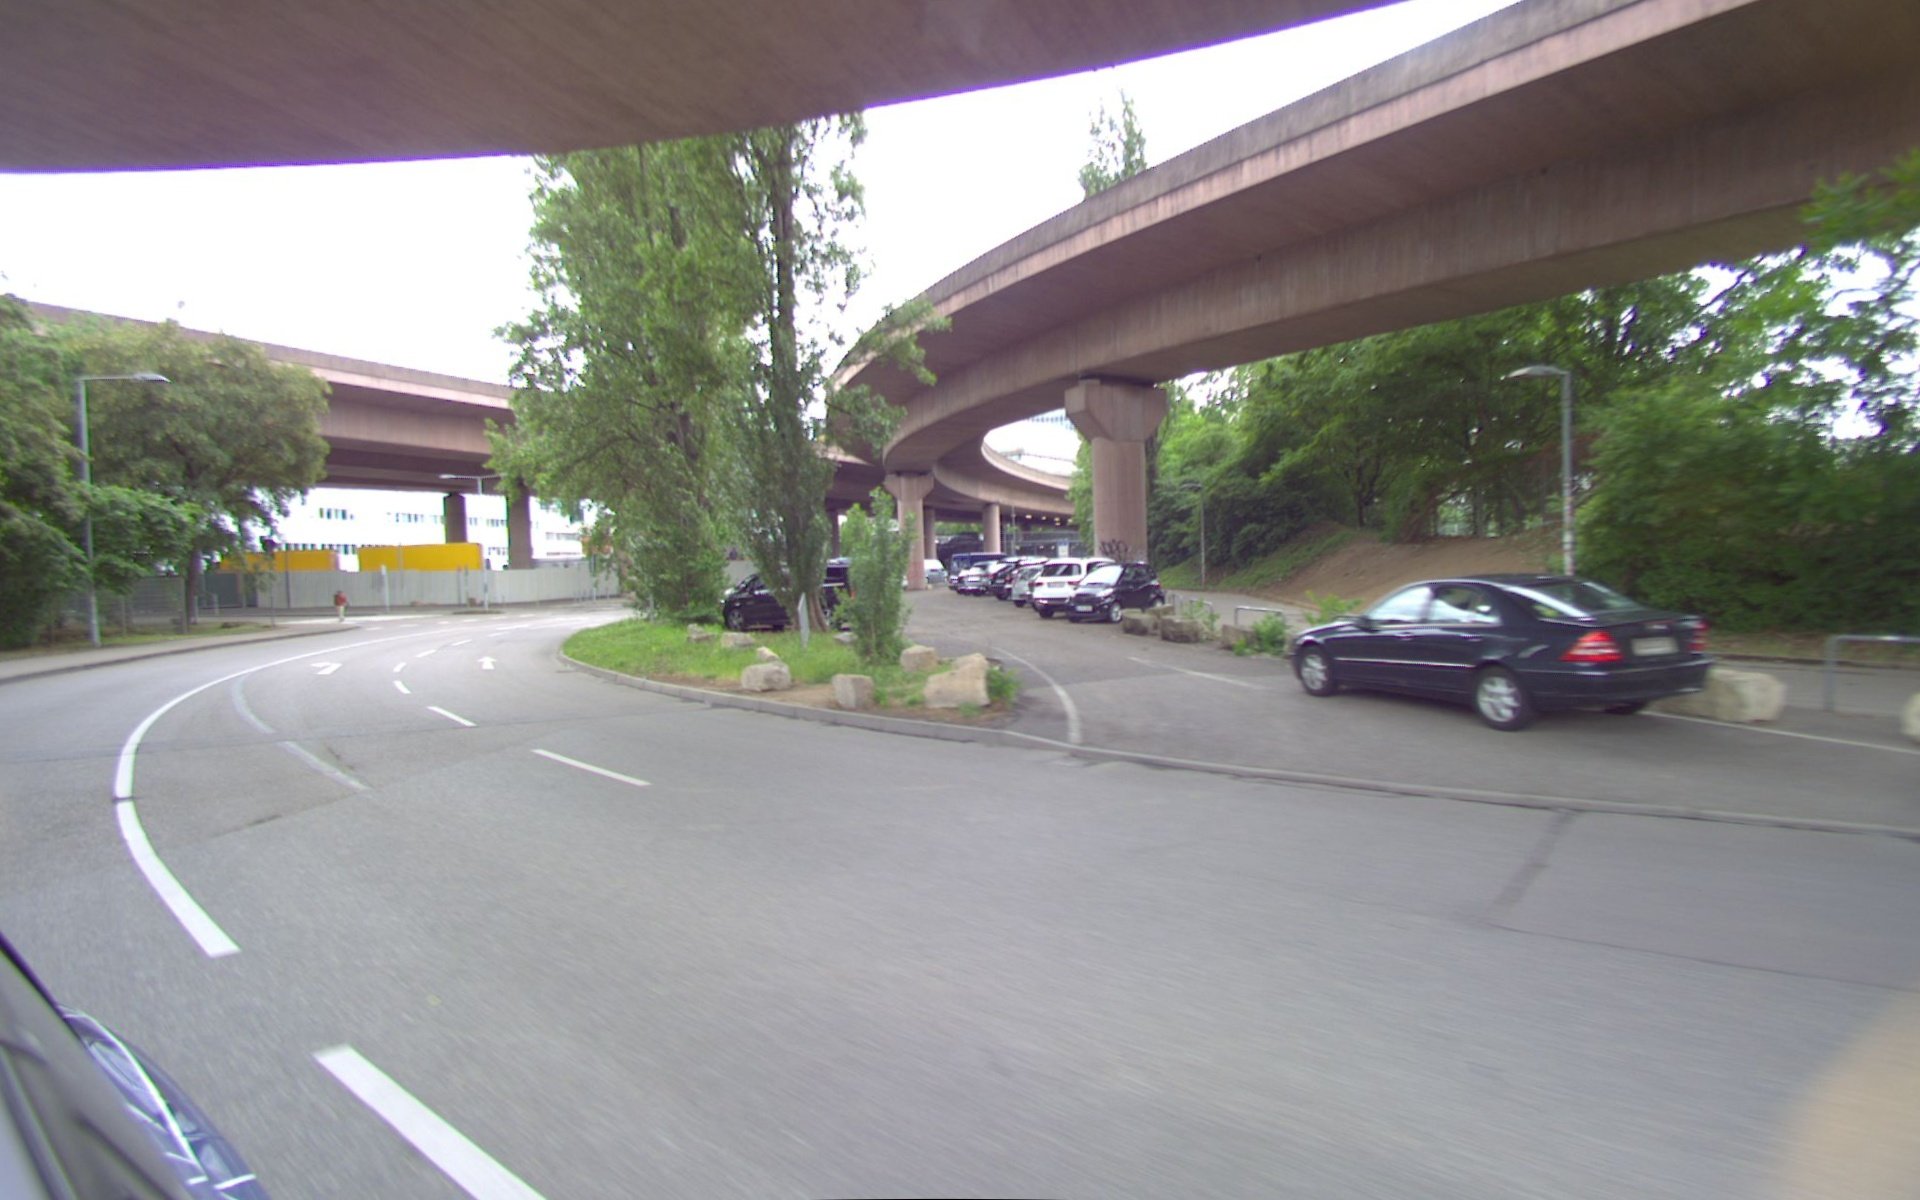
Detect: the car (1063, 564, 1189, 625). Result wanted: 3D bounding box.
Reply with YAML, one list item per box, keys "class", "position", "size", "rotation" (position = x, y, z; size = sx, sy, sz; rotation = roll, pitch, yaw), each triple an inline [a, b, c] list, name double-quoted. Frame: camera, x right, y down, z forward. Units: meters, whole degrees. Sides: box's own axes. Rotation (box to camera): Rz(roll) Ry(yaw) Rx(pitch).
- class: "car"
  position: [4.509, -0.181, 27.101]
  size: [1.538, 1.475, 3.816]
  rotation: [0, 2, 42]

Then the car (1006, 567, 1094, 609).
- class: "car"
  position: [3.298, -0.455, 36.711]
  size: [1.375, 1.399, 3.375]
  rotation: [0, 2, 43]

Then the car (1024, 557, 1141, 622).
- class: "car"
  position: [3.625, -0.354, 29.370]
  size: [1.731, 1.720, 4.016]
  rotation: [0, 2, 34]

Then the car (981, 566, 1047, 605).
- class: "car"
  position: [2.282, -0.621, 42.328]
  size: [1.318, 1.498, 2.940]
  rotation: [0, 2, 38]

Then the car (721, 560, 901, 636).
- class: "car"
  position: [-4.196, -0.072, 28.240]
  size: [4.957, 1.931, 1.837]
  rotation: [0, 2, 32]

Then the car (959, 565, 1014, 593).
- class: "car"
  position: [1.289, -1.019, 48.417]
  size: [1.393, 1.244, 2.947]
  rotation: [0, 2, 31]

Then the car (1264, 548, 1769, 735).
- class: "car"
  position: [5.515, 0.303, 10.930]
  size: [1.797, 1.441, 4.789]
  rotation: [-5, 2, -18]

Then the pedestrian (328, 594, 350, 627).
- class: "pedestrian"
  position: [-32.388, 0.549, 52.792]
  size: [0.742, 1.693, 0.857]
  rotation: [-1, 1, -14]

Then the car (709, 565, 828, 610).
- class: "car"
  position: [-7.527, -0.496, 39.529]
  size: [4.662, 1.686, 1.678]
  rotation: [0, 2, 32]

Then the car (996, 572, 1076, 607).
- class: "car"
  position: [2.963, -0.430, 39.229]
  size: [2.929, 1.244, 1.322]
  rotation: [-3, 2, -37]

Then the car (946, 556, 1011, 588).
- class: "car"
  position: [1.111, -1.704, 60.439]
  size: [3.483, 1.812, 1.647]
  rotation: [-2, 2, -32]

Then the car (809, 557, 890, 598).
- class: "car"
  position: [-7.396, -1.508, 67.561]
  size: [5.679, 2.600, 1.806]
  rotation: [2, 1, 37]

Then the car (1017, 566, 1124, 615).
- class: "car"
  position: [3.700, -0.338, 33.381]
  size: [1.740, 1.475, 3.820]
  rotation: [0, 2, 38]
